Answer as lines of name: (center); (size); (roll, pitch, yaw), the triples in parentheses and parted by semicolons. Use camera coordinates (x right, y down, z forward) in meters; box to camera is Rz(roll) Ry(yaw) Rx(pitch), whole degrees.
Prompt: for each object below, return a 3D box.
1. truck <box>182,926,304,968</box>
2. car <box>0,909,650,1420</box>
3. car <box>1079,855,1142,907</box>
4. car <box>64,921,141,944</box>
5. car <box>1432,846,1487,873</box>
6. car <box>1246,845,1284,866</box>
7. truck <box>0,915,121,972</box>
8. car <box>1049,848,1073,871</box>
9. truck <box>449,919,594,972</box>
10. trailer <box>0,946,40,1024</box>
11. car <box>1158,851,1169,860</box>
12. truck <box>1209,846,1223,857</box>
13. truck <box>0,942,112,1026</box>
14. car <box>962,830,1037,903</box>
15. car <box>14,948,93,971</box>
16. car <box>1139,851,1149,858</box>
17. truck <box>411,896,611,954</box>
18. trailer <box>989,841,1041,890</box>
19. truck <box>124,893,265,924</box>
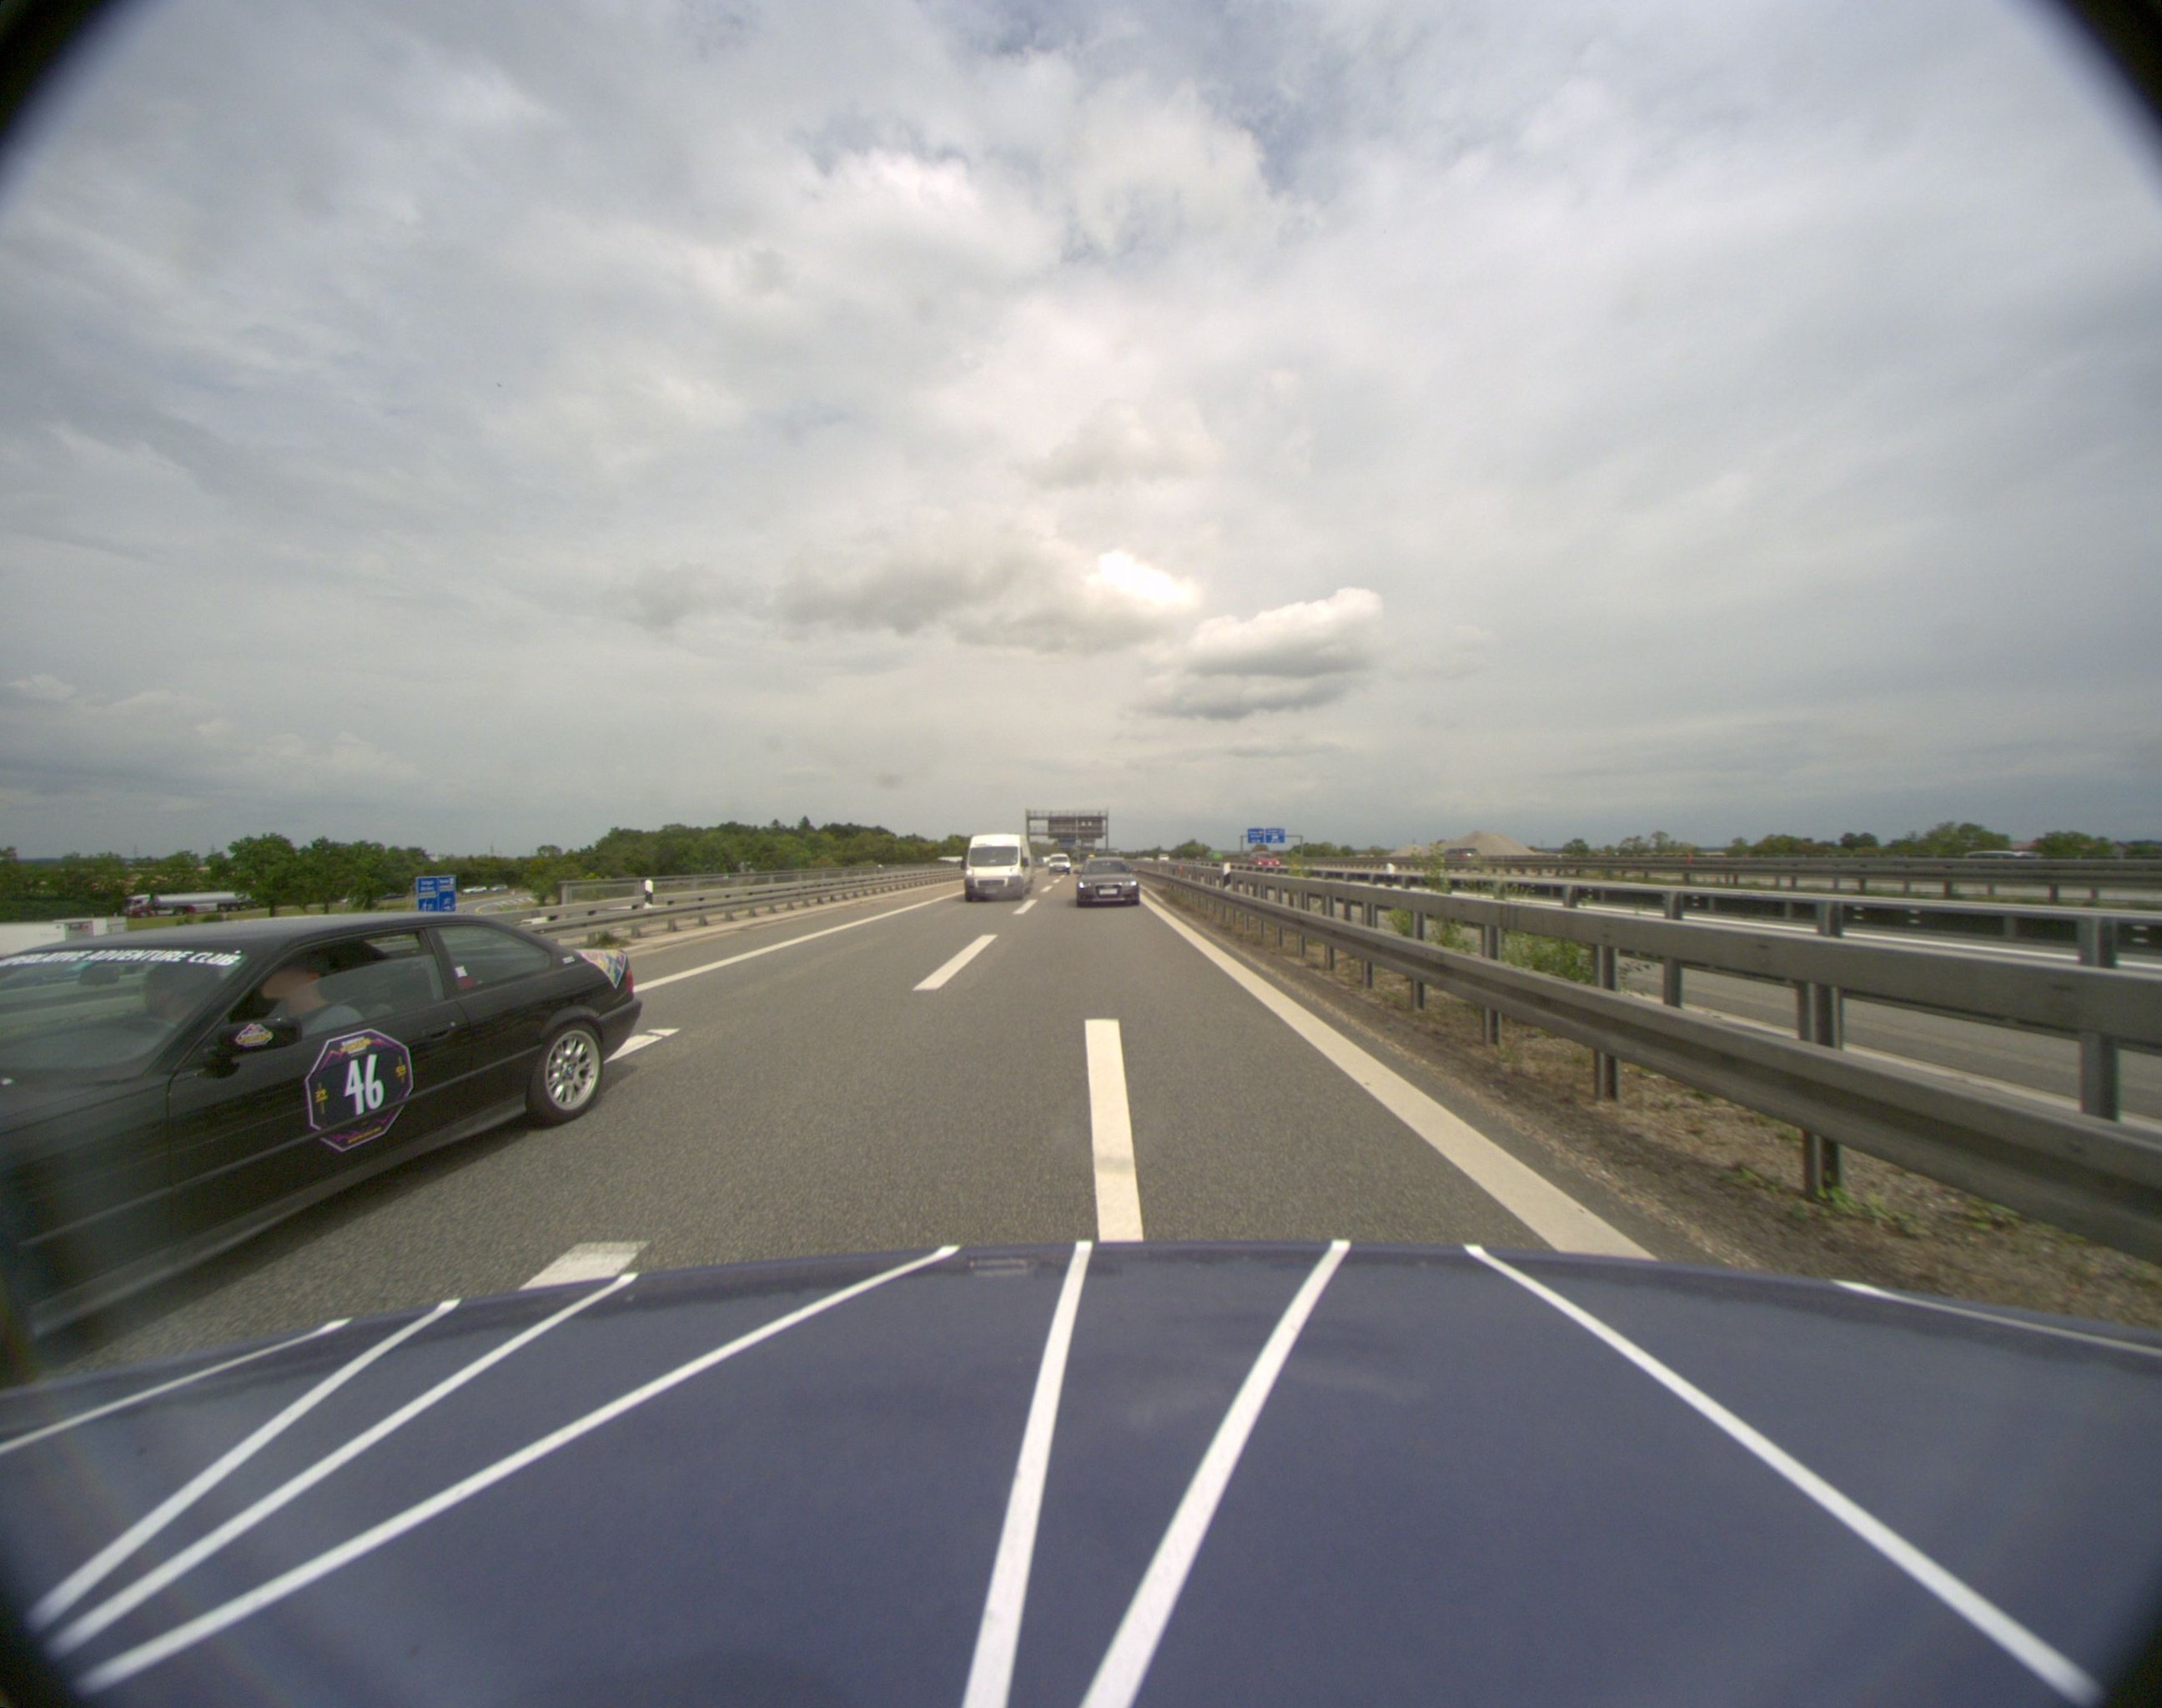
truck: (-77.446, 8.538, 70.361); (7.570, 3.178, 2.230); (-2, 0, -14)
car: (-3.992, 1.051, 3.193); (1.708, 1.273, 4.366); (-2, 0, 2)
car: (0.874, 0.765, 23.789); (1.747, 1.380, 3.999); (-2, 1, 1)
car: (-106.307, 8.560, 82.614); (4.675, 2.002, 2.180); (-2, 0, -18)
car: (26.682, 0.383, 53.719); (1.915, 1.783, 4.001); (-2, 0, 2)
car: (14.423, 0.115, 59.733); (1.824, 1.536, 4.354); (-2, 0, -1)
truck: (-99.119, 8.390, 69.784); (13.797, 4.527, 4.004); (-2, 0, -14)
car: (-1.728, 0.490, 64.930); (1.846, 1.870, 4.288); (-2, 0, -2)
truck: (-54.258, 8.812, 74.113); (10.790, 4.047, 3.237); (-2, 0, -17)
trailer: (-68.961, 7.831, 42.436); (13.958, 4.261, 3.128); (-2, 0, -13)
car: (18.865, 0.358, 173.225); (1.998, 2.002, 4.466); (-2, 0, 1)
truck: (46.349, -0.908, 261.407); (3.021, 3.613, 10.437); (-2, 0, 0)
truck: (-61.569, 7.576, 44.179); (5.616, 4.261, 3.128); (-2, 0, -13)
car: (-2.993, 0.435, 29.293); (2.119, 2.439, 6.152); (-2, 0, 0)
car: (-91.011, 9.336, 67.338); (4.002, 1.546, 1.671); (-1, 0, -14)
car: (15.995, 0.205, 191.796); (1.999, 1.739, 3.999); (-2, 0, -2)
truck: (-59.156, 7.319, 79.582); (16.184, 4.673, 3.988); (-2, 1, -17)
trailer: (-2.924, 0.507, 34.606); (1.859, 2.002, 4.632); (-2, 0, 0)
truck: (-144.965, 8.804, 124.753); (3.079, 4.065, 14.754); (-2, 0, 21)
